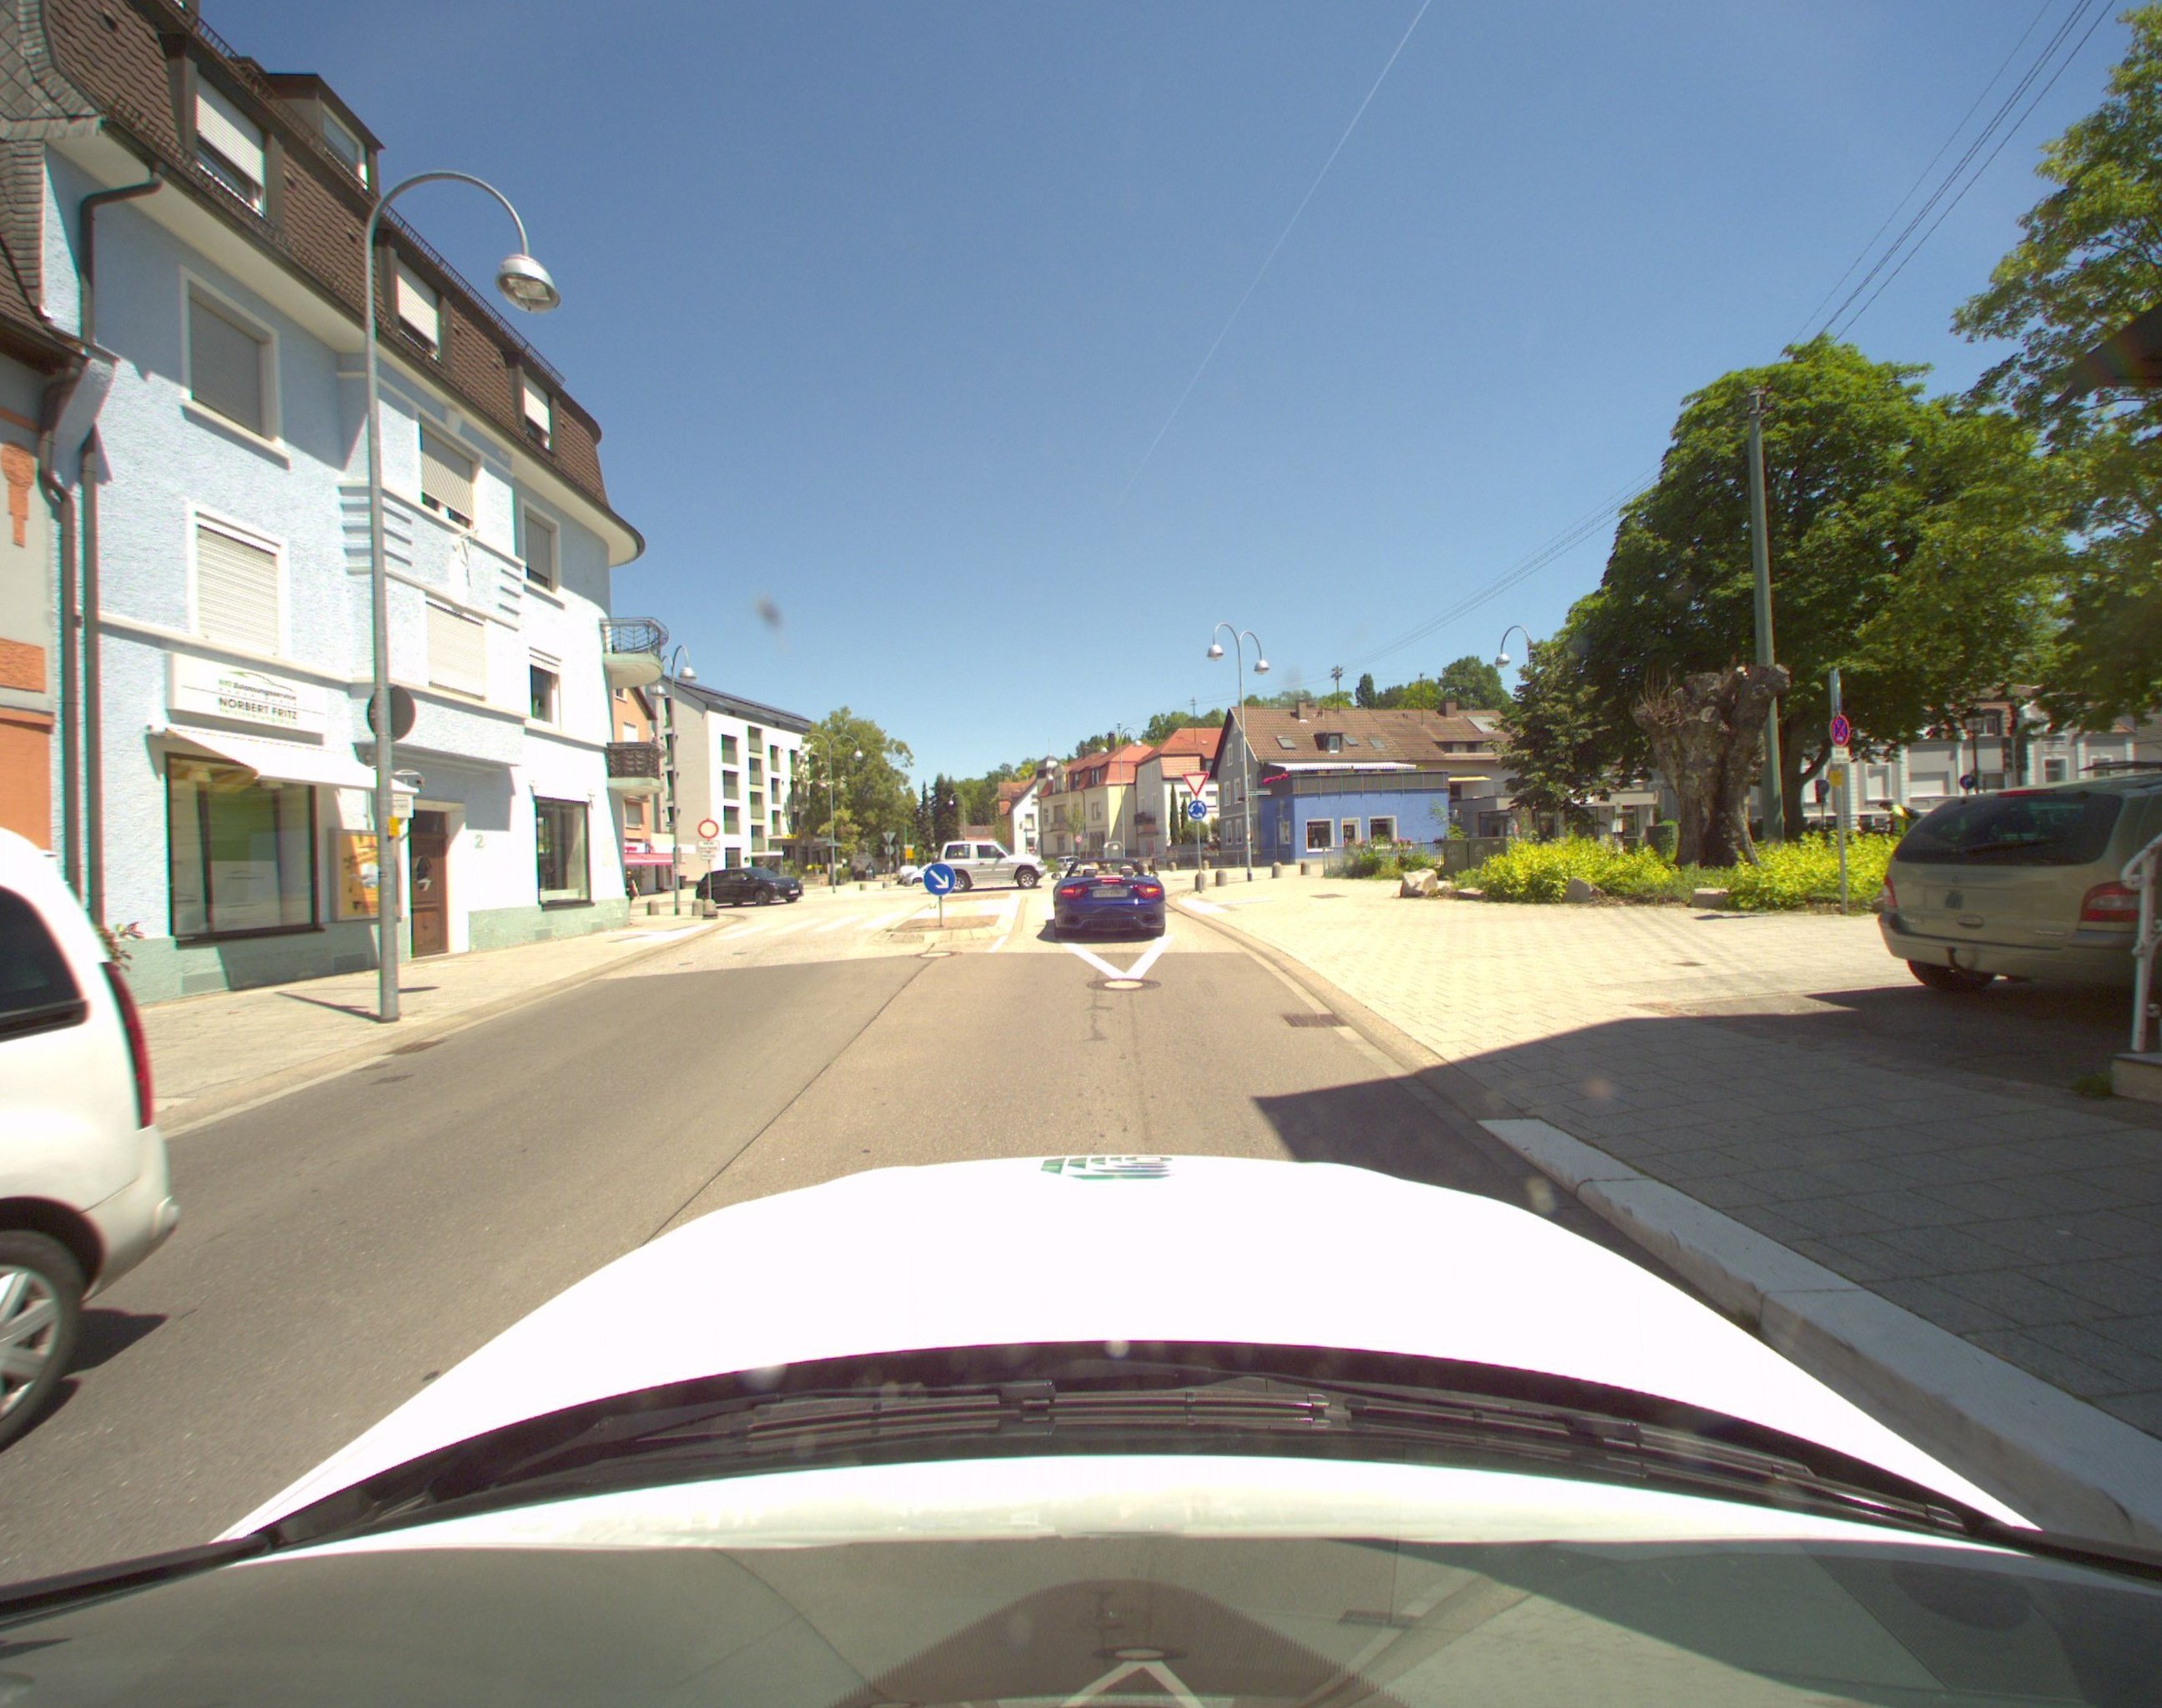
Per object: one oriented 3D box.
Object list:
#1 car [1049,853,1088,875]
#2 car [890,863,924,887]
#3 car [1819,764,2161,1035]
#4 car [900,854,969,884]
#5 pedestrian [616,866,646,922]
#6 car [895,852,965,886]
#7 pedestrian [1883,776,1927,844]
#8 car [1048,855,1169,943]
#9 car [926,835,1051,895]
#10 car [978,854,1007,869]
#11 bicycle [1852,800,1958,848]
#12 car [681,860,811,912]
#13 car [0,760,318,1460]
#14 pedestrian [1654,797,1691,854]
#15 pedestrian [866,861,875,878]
[{"bbox_3d":[-1.046,0.850,65.978,1.925,1.613,4.120,-3,-1,-19],"label":"car"},{"bbox_3d":[-12.617,1.482,59.189,1.992,1.509,3.990,-4,0,-7],"label":"car"},{"bbox_3d":[8.117,0.144,5.771,4.047,1.595,1.802,-4,-1,0],"label":"car"},{"bbox_3d":[-8.164,0.814,45.319,3.471,1.450,1.569,-3,0,-20],"label":"car"},{"bbox_3d":[-13.277,1.177,24.012,0.508,1.585,0.550,-3,0,41],"label":"pedestrian"},{"bbox_3d":[-6.851,0.678,36.640,2.004,1.329,4.164,-4,0,-26],"label":"car"},{"bbox_3d":[20.831,-1.099,20.589,0.751,1.632,0.709,-3,0,-45],"label":"pedestrian"},{"bbox_3d":[0.511,0.716,15.122,1.903,1.360,4.287,-2,0,2],"label":"car"},{"bbox_3d":[-3.291,0.381,29.514,4.204,1.875,1.763,-3,0,-1],"label":"car"},{"bbox_3d":[-10.142,0.853,93.096,1.862,1.588,3.961,-4,0,-30],"label":"car"},{"bbox_3d":[20.805,-0.739,20.607,0.751,1.083,1.826,-3,0,-45],"label":"bicycle"},{"bbox_3d":[-12.911,1.217,31.471,4.219,1.546,1.818,-5,1,13],"label":"car"},{"bbox_3d":[-3.659,0.712,0.802,1.993,1.822,4.402,-4,0,-9],"label":"car"},{"bbox_3d":[19.232,-0.924,26.495,0.730,1.799,0.684,-4,1,20],"label":"pedestrian"},{"bbox_3d":[-19.867,1.504,76.936,0.531,1.575,0.564,-3,0,11],"label":"pedestrian"}]
